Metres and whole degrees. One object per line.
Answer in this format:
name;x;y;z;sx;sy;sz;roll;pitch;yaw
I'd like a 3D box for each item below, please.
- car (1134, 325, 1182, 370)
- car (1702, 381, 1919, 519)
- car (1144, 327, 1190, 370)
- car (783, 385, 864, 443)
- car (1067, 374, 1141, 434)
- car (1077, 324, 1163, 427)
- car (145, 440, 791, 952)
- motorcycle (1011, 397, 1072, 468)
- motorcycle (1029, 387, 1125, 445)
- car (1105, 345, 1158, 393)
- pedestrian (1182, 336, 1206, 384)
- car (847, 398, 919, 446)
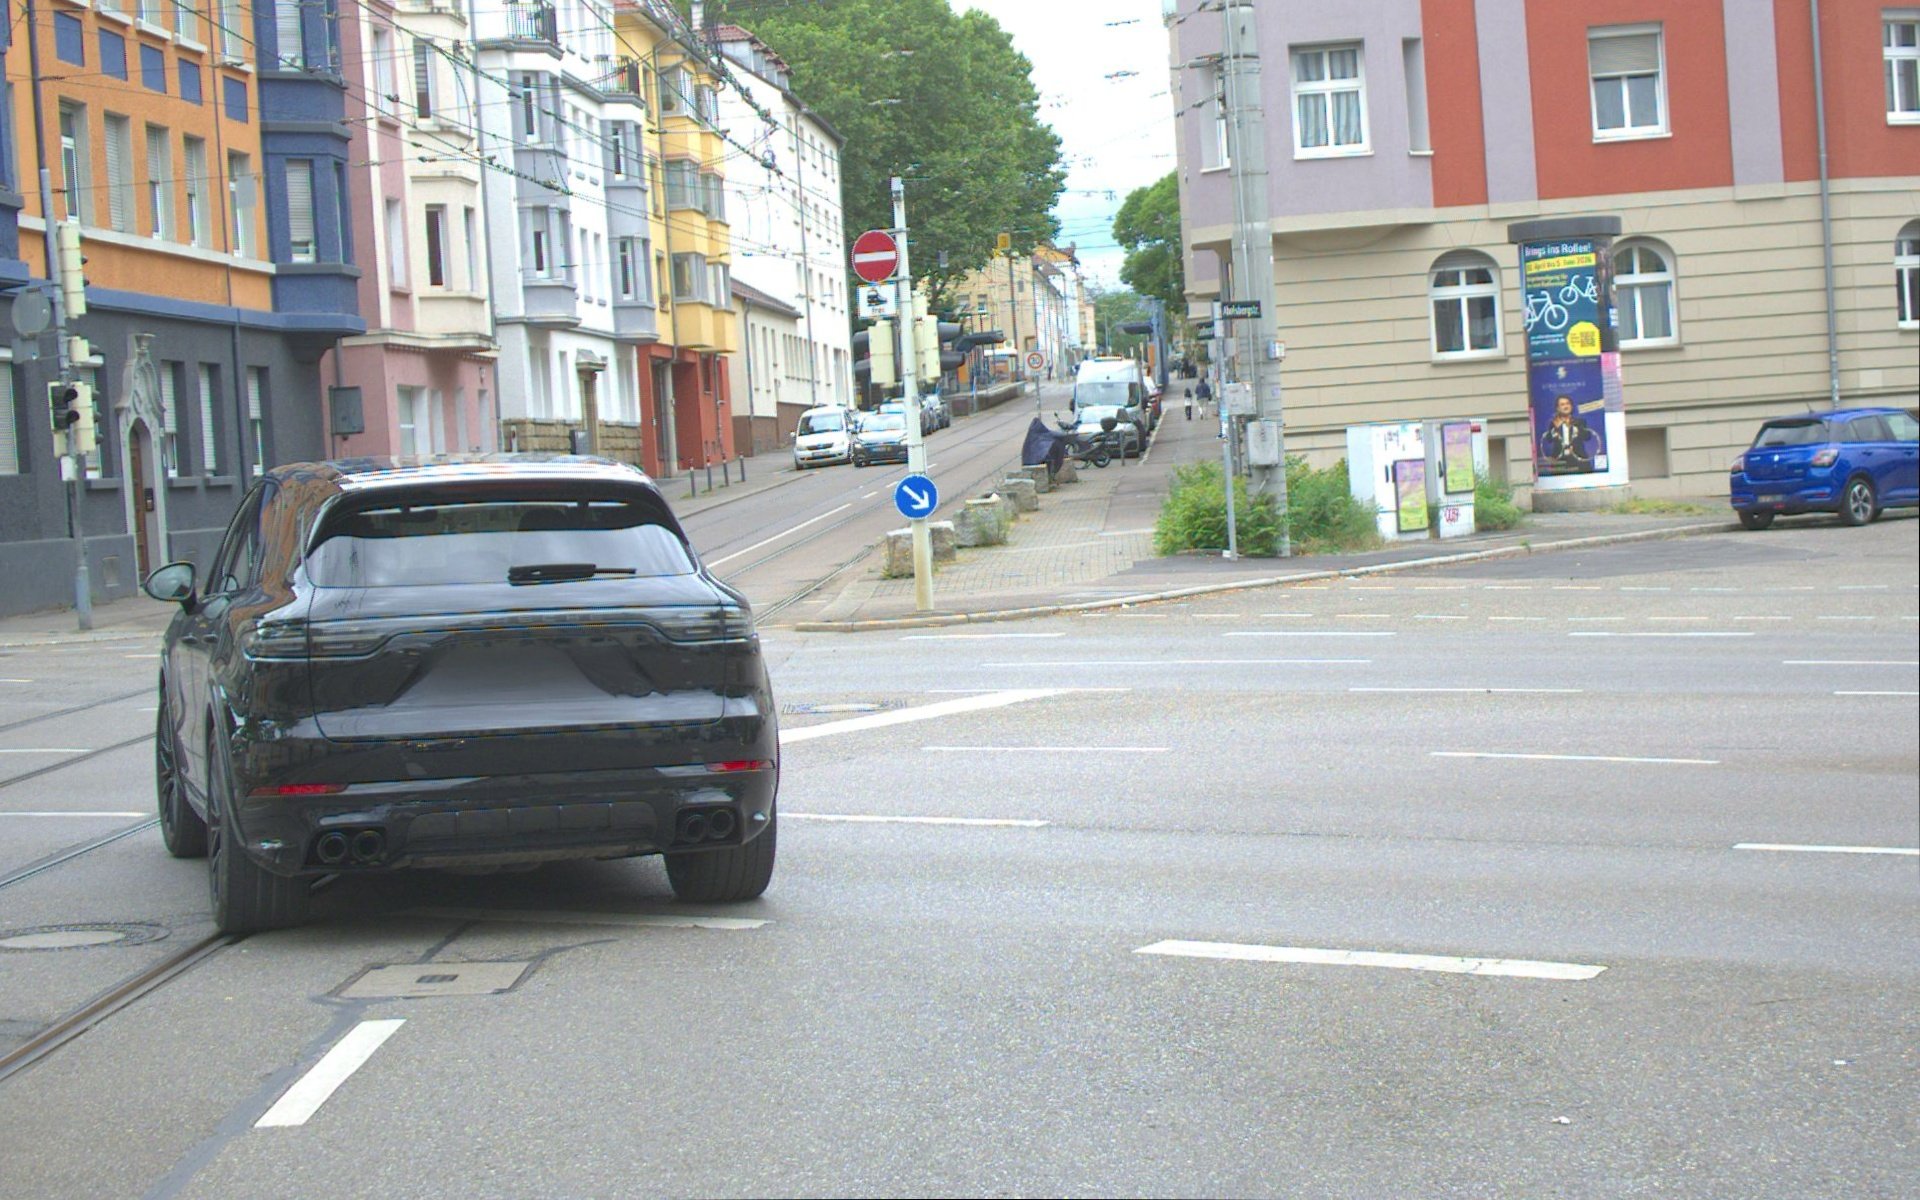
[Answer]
car;10.120;-12.843;175.031;2.267;2.176;4.769;-1;3;5
car;11.733;-1.996;44.782;4.130;1.529;1.918;-7;6;-41
car;10.921;-13.244;181.241;2.267;2.176;4.769;-1;3;5
car;-4.200;-5.779;106.511;1.994;1.686;4.000;-1;4;5
car;3.966;-5.384;94.310;1.840;1.563;3.819;-1;4;5
car;4.687;-6.528;100.001;2.267;2.880;4.769;-1;3;5
car;-2.095;0.222;13.438;2.023;1.636;4.357;-1;2;-14
motorcycle;1.672;-3.471;70.907;0.859;1.321;2.185;-8;4;-4
motorcycle;2.761;-4.365;81.405;2.176;1.322;0.700;-2;3;-5
car;8.064;-10.807;161.193;2.267;2.176;4.769;-1;3;5
pedestrian;8.275;-8.482;121.527;0.680;1.626;0.673;-1;1;14
car;-2.227;-5.221;100.413;1.686;1.322;3.662;-1;4;5
